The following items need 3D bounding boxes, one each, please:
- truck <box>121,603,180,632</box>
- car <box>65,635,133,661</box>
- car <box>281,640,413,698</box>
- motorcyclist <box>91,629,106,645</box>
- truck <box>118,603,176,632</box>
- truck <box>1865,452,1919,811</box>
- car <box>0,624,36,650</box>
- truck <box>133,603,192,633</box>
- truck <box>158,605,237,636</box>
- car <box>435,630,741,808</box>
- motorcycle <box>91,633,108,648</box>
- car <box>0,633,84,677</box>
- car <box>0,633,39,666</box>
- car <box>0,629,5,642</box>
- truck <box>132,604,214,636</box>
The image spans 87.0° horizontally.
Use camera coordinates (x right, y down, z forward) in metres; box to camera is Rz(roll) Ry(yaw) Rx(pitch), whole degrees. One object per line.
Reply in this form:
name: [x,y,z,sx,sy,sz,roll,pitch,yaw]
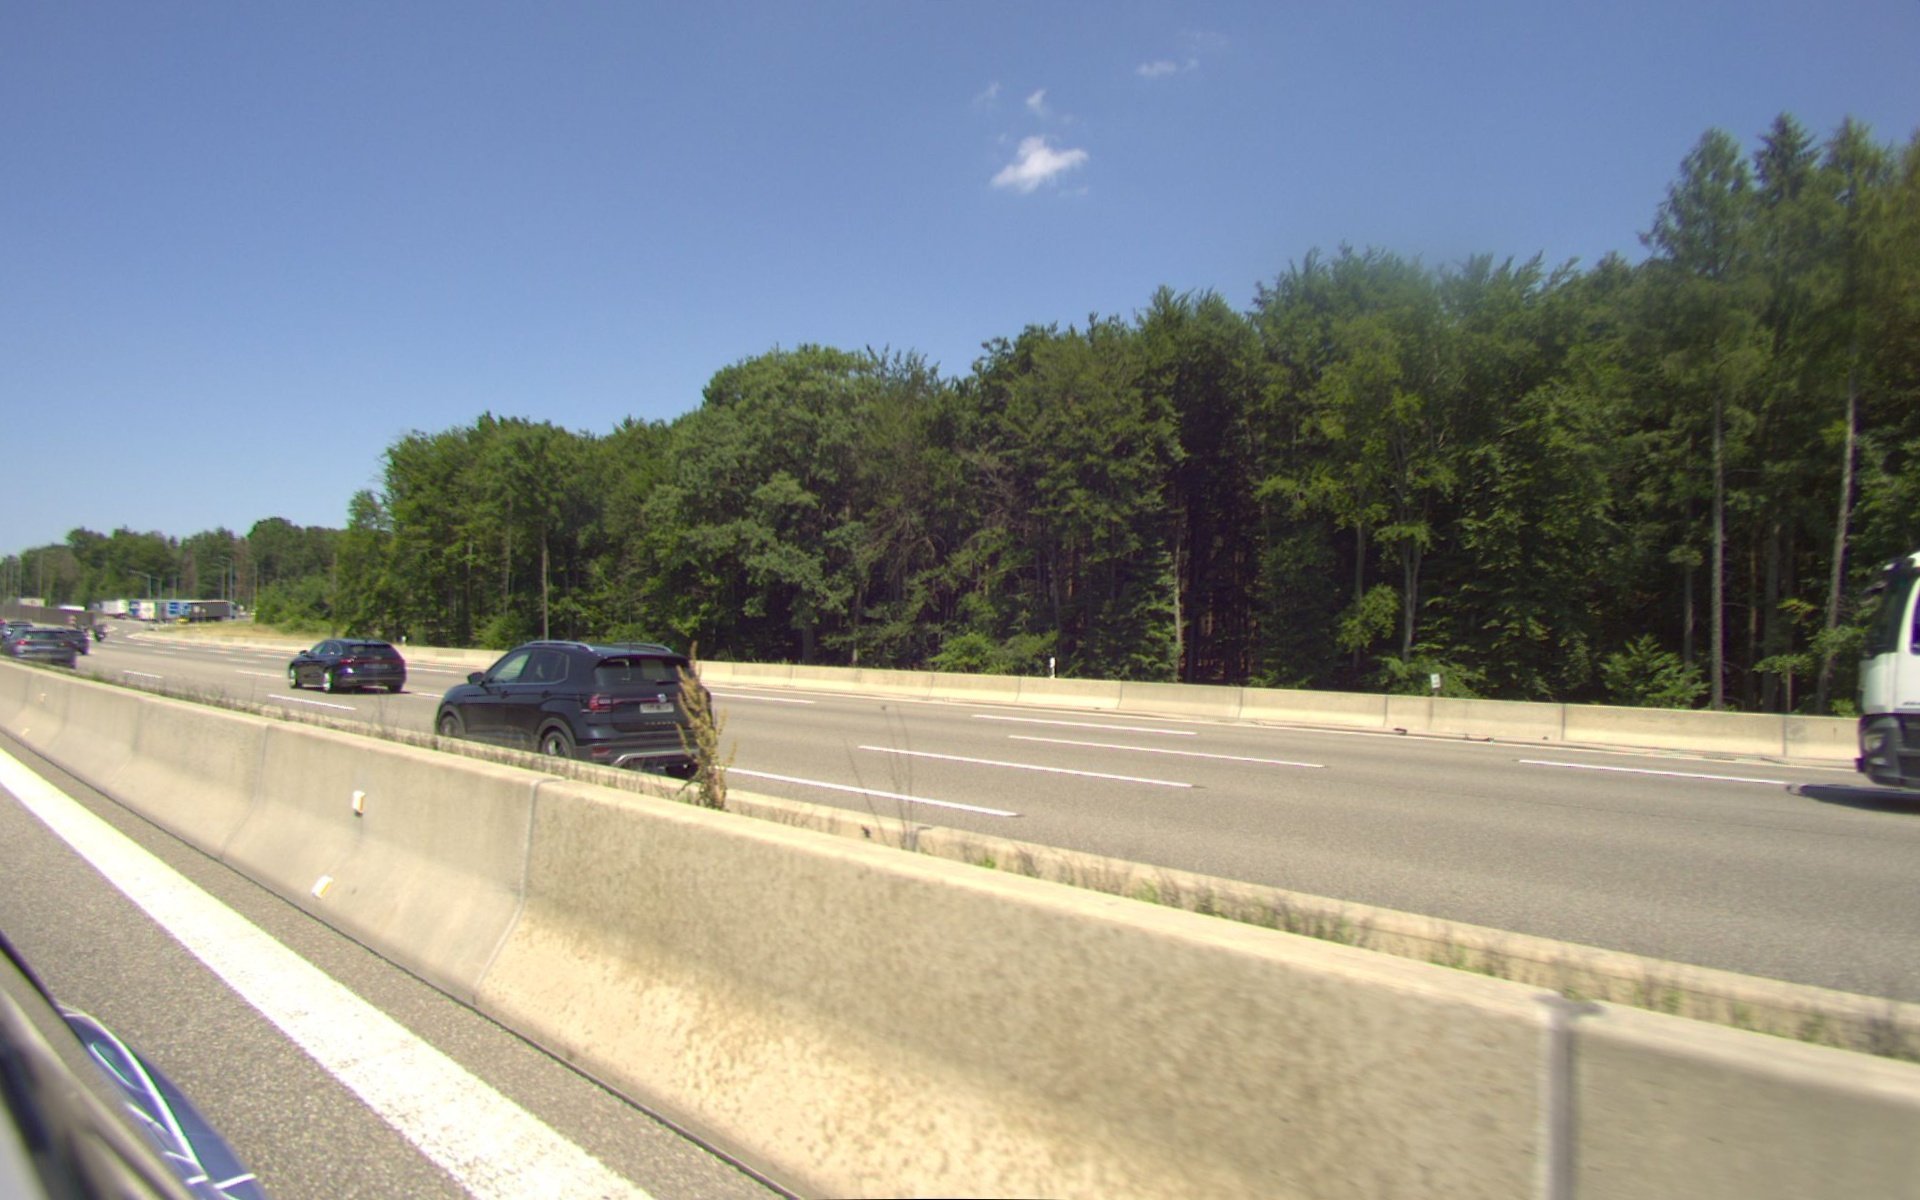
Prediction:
truck: [-162.764,3.663,203.740,3.179,5.655,11.549,1,-2,-5]
car: [-47.711,2.644,56.072,5.038,1.360,1.903,-1,-3,38]
car: [-17.192,1.885,28.279,4.906,1.460,1.699,-2,-5,41]
motorcyclist: [-75.624,3.265,88.839,1.077,1.311,0.752,1,-2,41]
truck: [-166.621,3.714,207.698,3.179,5.655,11.549,1,-2,-5]
truck: [15.038,0.367,9.069,10.231,3.969,2.691,0,-3,41]
car: [-65.322,2.528,69.570,4.504,1.737,1.951,-1,-4,39]
truck: [-159.327,3.703,202.429,3.317,5.655,11.549,1,-2,-5]
truck: [-144.542,3.957,192.236,3.175,5.655,16.725,1,-2,-4]
car: [-4.329,1.197,11.515,3.847,1.674,1.598,-1,-3,41]
motorcycle: [-75.544,3.533,88.815,2.348,1.223,0.730,0,-3,41]
car: [-30.951,1.891,33.932,4.488,1.387,1.734,-4,-5,41]
car: [-42.217,2.167,44.881,3.848,1.404,1.597,-1,-3,42]
car: [-133.883,4.888,139.972,5.186,1.687,2.025,-1,-4,42]
truck: [-147.995,3.810,190.750,3.399,5.655,16.725,1,-2,-4]
